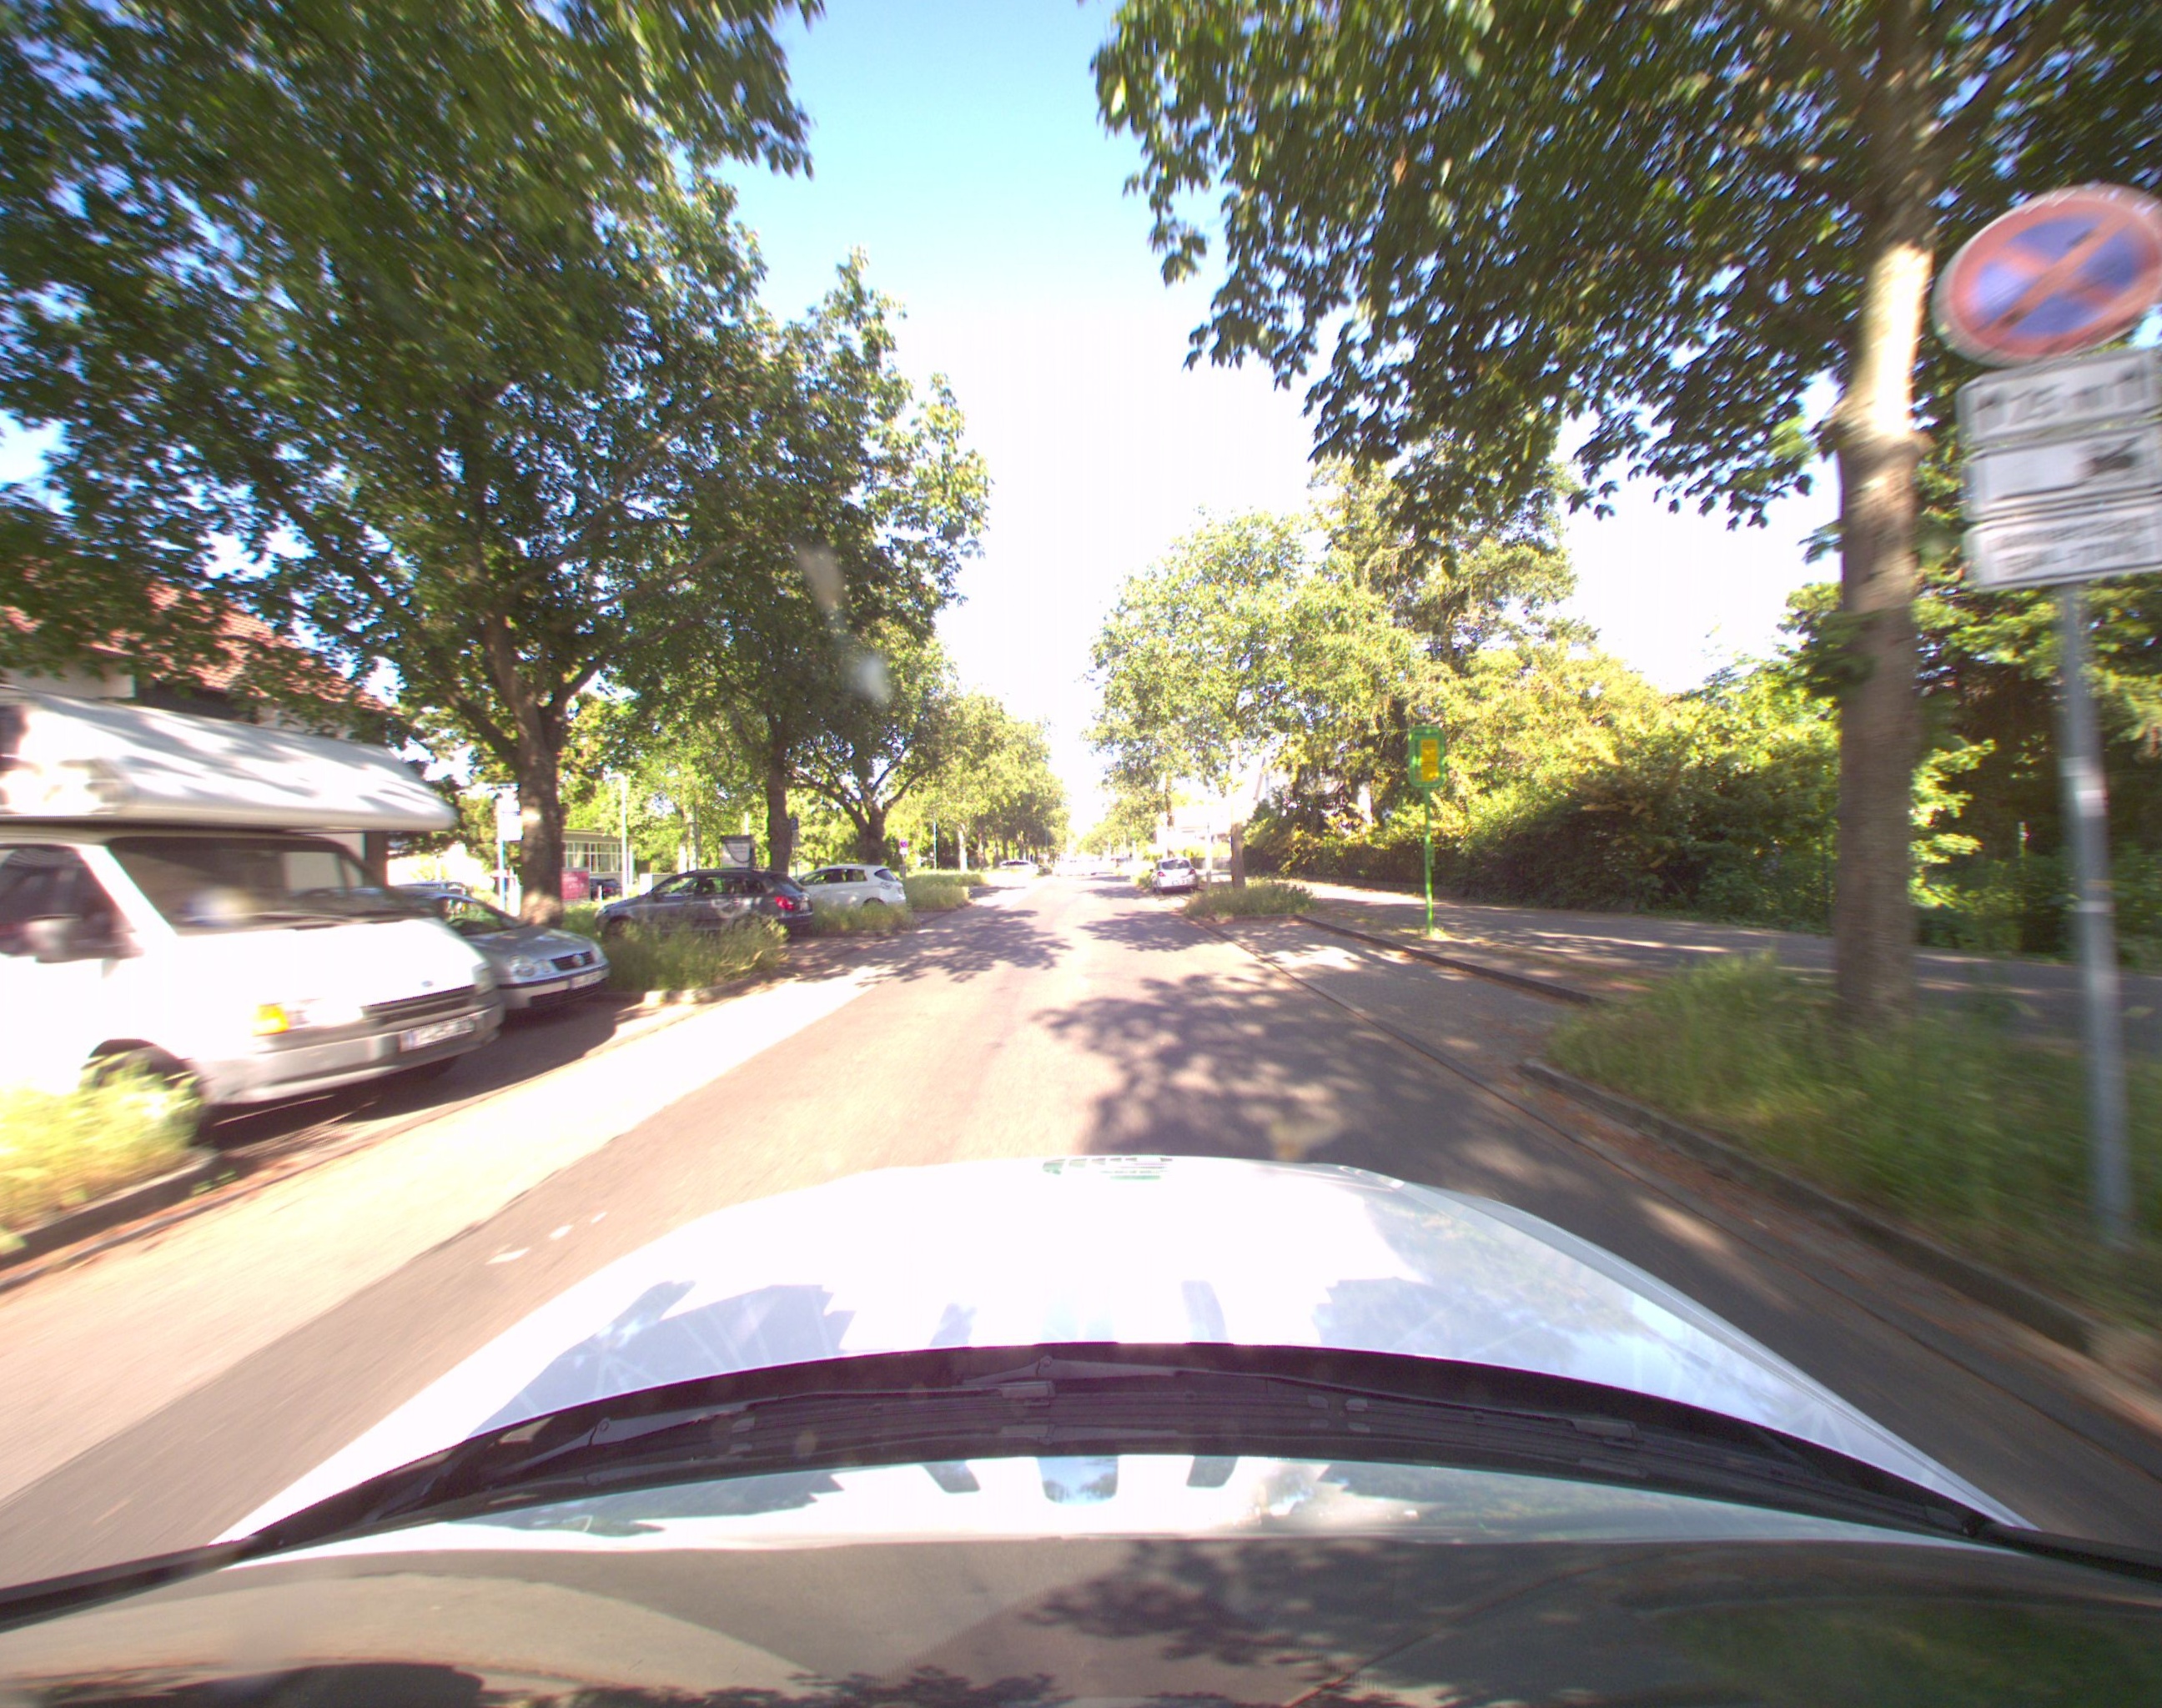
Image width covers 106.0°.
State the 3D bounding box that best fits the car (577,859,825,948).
[{"bbox_3d":[-7.504,0.961,16.433,3.975,1.589,1.999,1,-1,-1],"label":"car"}]

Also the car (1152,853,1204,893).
[{"bbox_3d":[4.130,0.794,34.591,1.983,1.510,4.008,-3,-1,7],"label":"car"}]

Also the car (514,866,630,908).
[{"bbox_3d":[-22.674,1.456,36.351,3.974,1.714,1.822,-1,0,0],"label":"car"}]

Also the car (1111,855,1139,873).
[{"bbox_3d":[4.011,0.916,74.987,1.991,1.622,4.373,2,-1,-6],"label":"car"}]

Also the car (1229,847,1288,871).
[{"bbox_3d":[13.311,0.404,61.095,3.982,1.640,1.773,-2,0,-6],"label":"car"}]

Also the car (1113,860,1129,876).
[{"bbox_3d":[4.221,1.495,86.403,1.605,1.622,4.382,1,-1,1],"label":"car"}]

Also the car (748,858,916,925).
[{"bbox_3d":[-6.755,0.987,22.458,3.975,1.661,1.966,-1,0,-1],"label":"car"}]

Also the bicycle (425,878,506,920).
[{"bbox_3d":[-20.431,1.435,27.176,0.705,1.176,4.034,-2,0,-16],"label":"bicycle"}]

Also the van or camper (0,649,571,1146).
[{"bbox_3d":[-7.136,0.201,5.733,5.753,2.805,2.001,1,-1,2],"label":"van or camper"}]

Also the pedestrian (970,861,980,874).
[{"bbox_3d":[-14.625,1.842,112.185,1.227,1.827,1.542,0,-2,-16],"label":"pedestrian"}]

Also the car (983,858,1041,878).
[{"bbox_3d":[-5.774,1.166,68.727,4.654,1.503,2.001,-1,-1,1],"label":"car"}]

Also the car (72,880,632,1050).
[{"bbox_3d":[-7.326,1.073,8.595,3.976,1.458,1.999,1,-1,-2],"label":"car"}]

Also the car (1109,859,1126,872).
[{"bbox_3d":[5.097,1.630,113.756,1.988,1.728,3.996,-3,-1,-2],"label":"car"}]

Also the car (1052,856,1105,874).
[{"bbox_3d":[-0.225,0.921,69.666,4.170,1.455,2.013,-2,0,39],"label":"car"}]

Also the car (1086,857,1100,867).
[{"bbox_3d":[1.864,1.251,128.712,1.987,1.508,3.657,1,-1,-1],"label":"car"}]
